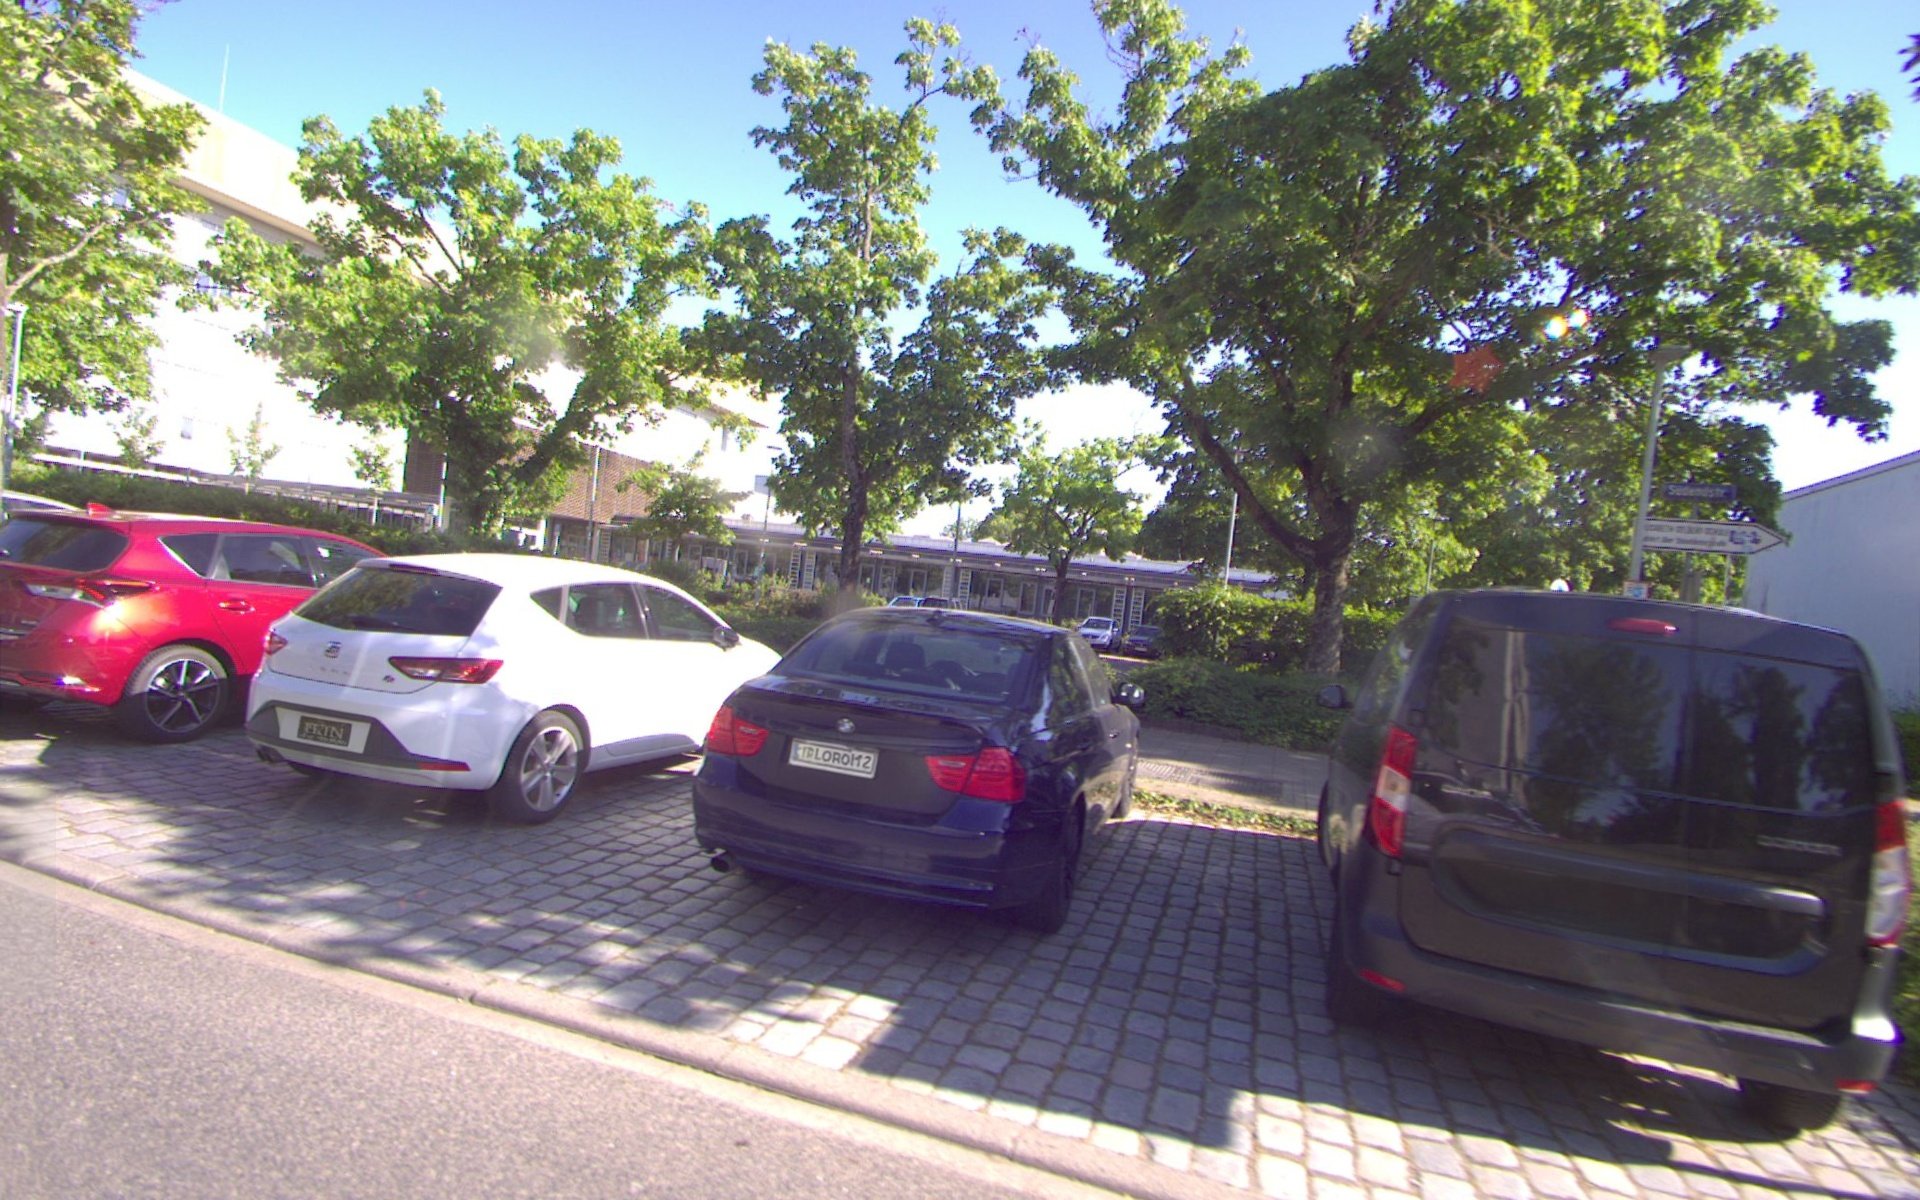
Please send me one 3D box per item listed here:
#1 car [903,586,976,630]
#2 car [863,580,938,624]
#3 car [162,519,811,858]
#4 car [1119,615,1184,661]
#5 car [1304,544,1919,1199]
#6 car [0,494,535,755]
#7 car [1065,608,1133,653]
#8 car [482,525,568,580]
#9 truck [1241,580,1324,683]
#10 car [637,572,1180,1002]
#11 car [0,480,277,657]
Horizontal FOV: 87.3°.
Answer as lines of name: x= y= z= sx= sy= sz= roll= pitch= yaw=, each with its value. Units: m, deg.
car: x=-0.926 y=0.396 z=48.007 sx=1.866 sy=1.705 sz=3.998 roll=8 pitch=0 yaw=23
car: x=-2.845 y=0.130 z=48.787 sx=1.866 sy=1.705 sz=3.998 roll=8 pitch=0 yaw=23
car: x=-2.742 y=0.438 z=6.907 sx=1.774 sy=1.455 sz=3.910 roll=7 pitch=1 yaw=17
car: x=8.498 y=1.700 z=44.411 sx=1.866 sy=1.705 sz=3.998 roll=8 pitch=0 yaw=23
car: x=2.823 y=0.885 z=5.059 sx=1.845 sy=1.870 sz=4.166 roll=6 pitch=1 yaw=19
car: x=-5.366 y=0.150 z=7.759 sx=1.641 sy=1.444 sz=3.912 roll=6 pitch=0 yaw=17
car: x=6.300 y=1.396 z=45.207 sx=1.866 sy=1.705 sz=3.998 roll=8 pitch=0 yaw=23
car: x=-23.792 y=-2.549 z=55.144 sx=2.191 sy=2.522 sz=3.644 roll=7 pitch=1 yaw=20
truck: x=14.417 y=1.429 z=44.565 sx=2.759 sy=3.854 sz=6.923 roll=8 pitch=0 yaw=20
car: x=0.158 y=0.724 z=5.961 sx=1.794 sy=1.424 sz=4.167 roll=6 pitch=1 yaw=17
car: x=-9.347 y=-0.350 z=10.033 sx=1.648 sy=1.597 sz=3.912 roll=8 pitch=0 yaw=17
